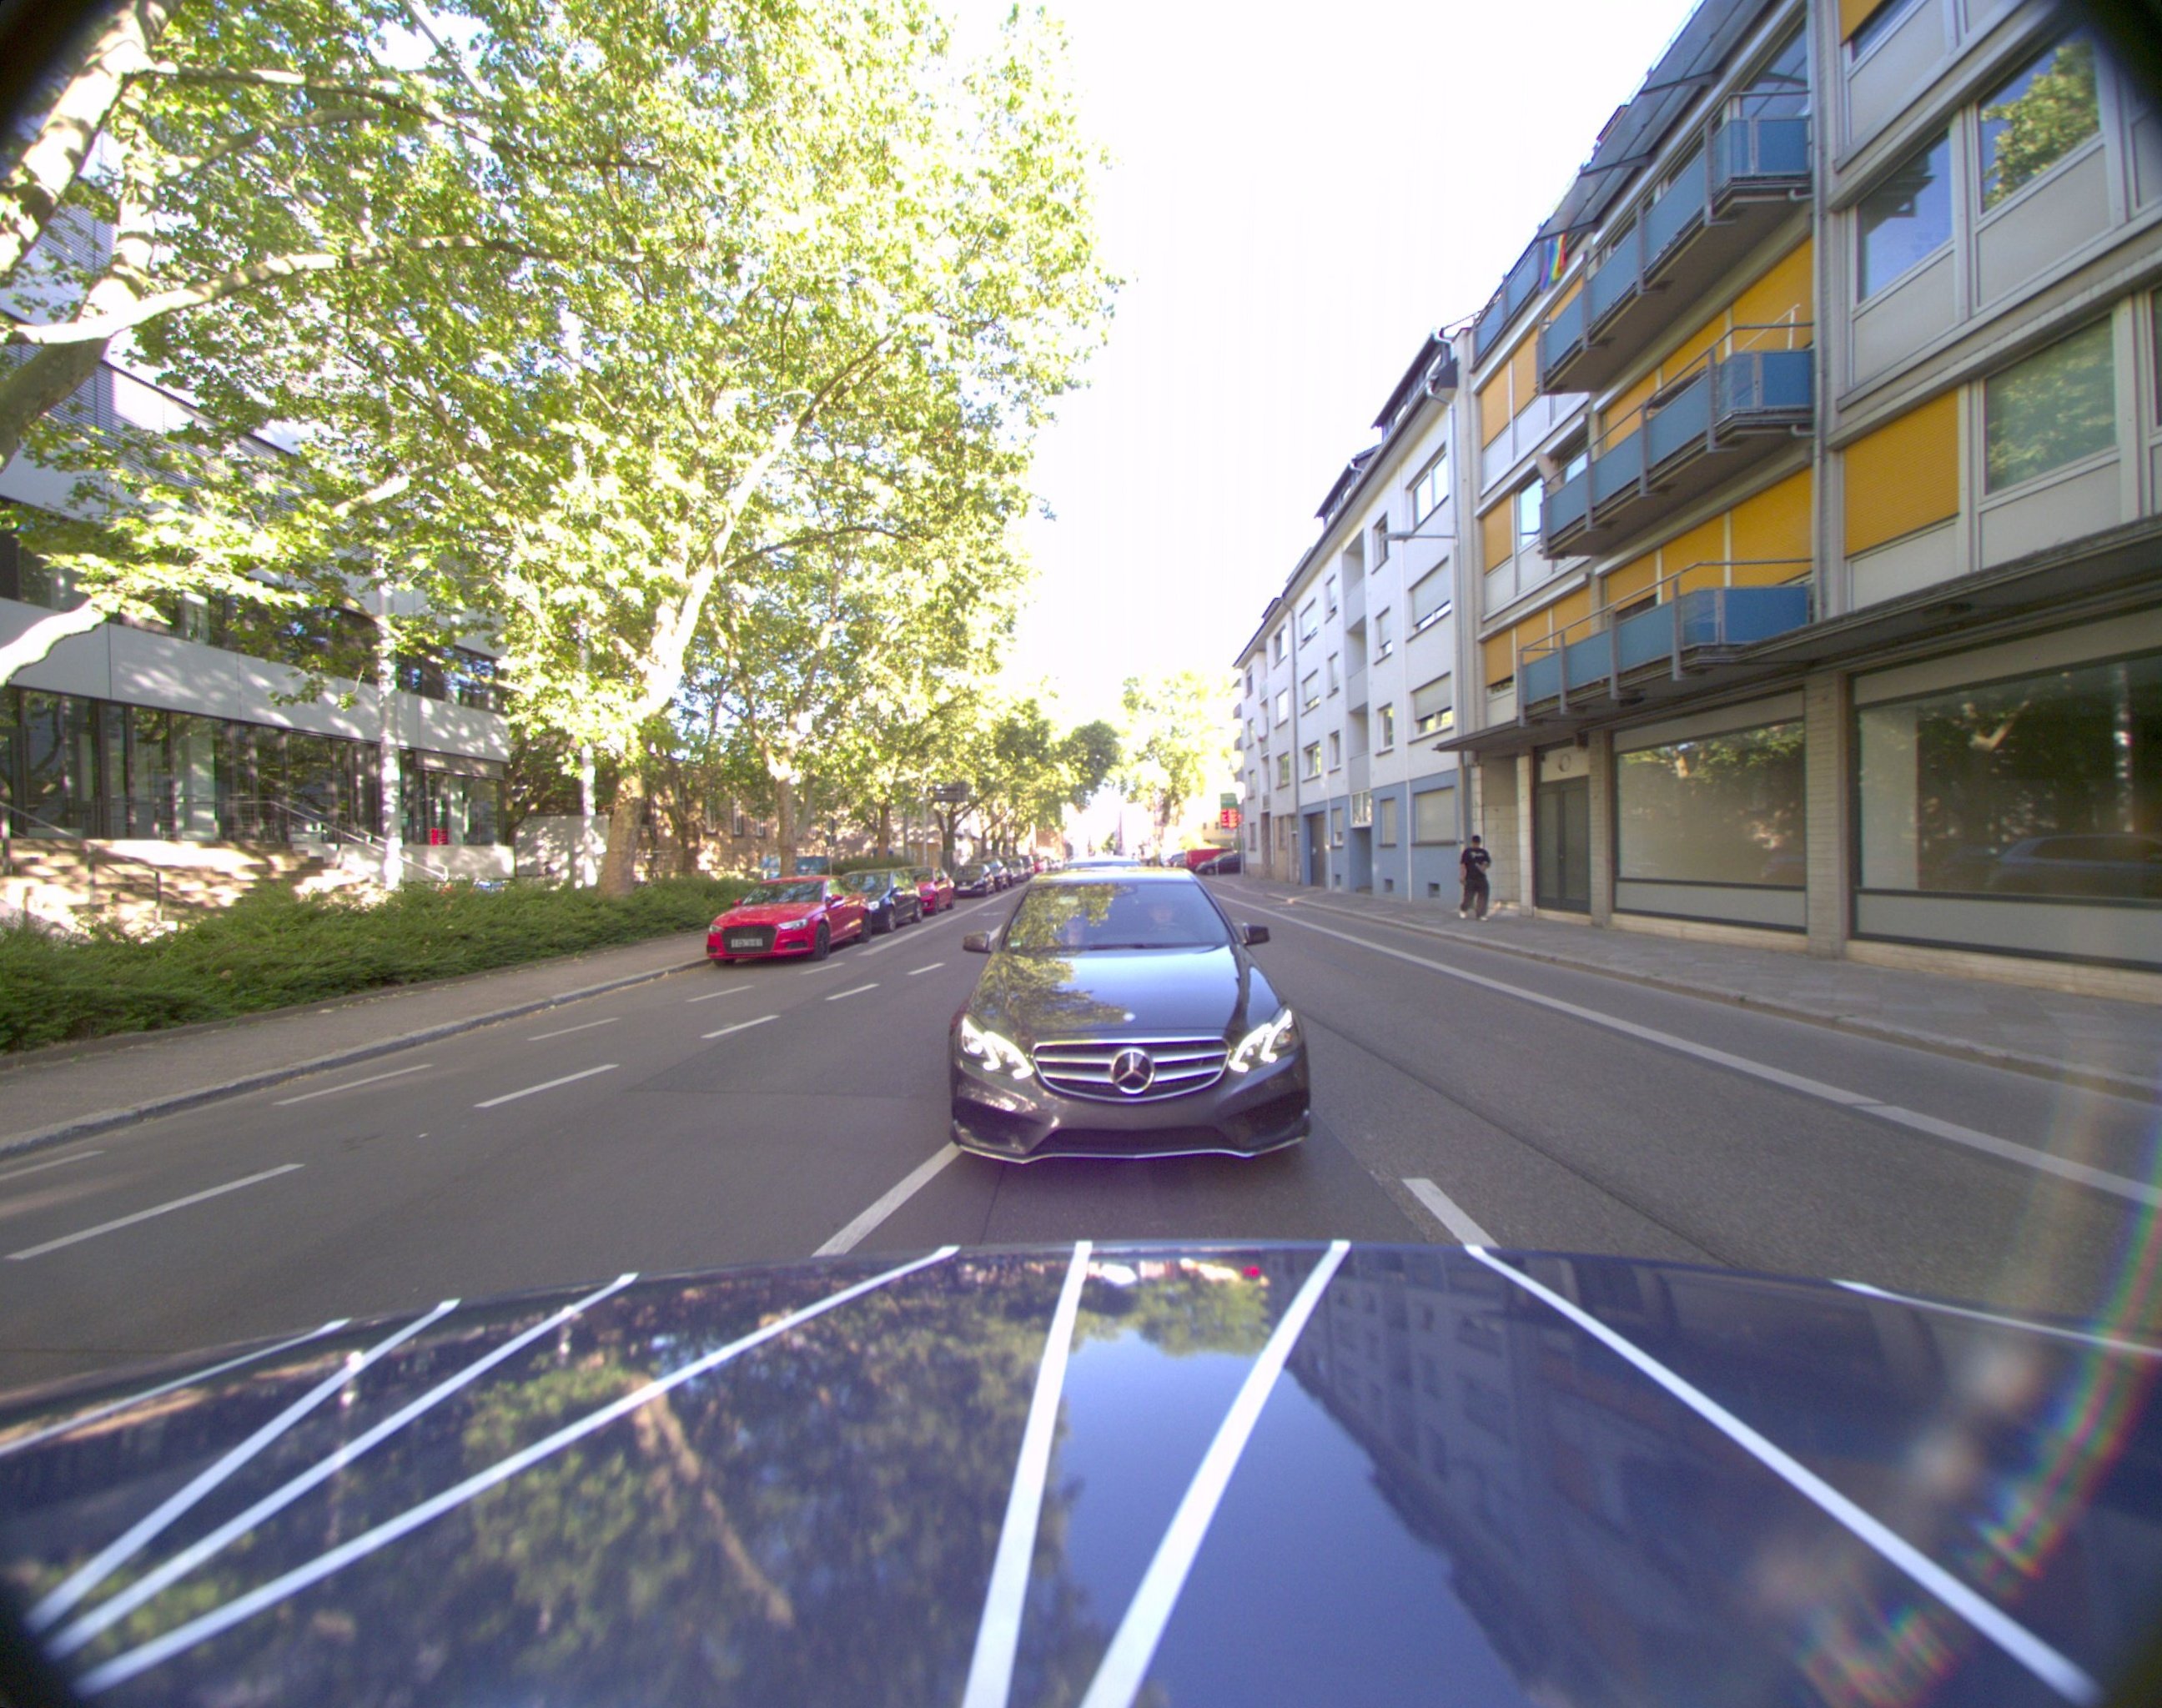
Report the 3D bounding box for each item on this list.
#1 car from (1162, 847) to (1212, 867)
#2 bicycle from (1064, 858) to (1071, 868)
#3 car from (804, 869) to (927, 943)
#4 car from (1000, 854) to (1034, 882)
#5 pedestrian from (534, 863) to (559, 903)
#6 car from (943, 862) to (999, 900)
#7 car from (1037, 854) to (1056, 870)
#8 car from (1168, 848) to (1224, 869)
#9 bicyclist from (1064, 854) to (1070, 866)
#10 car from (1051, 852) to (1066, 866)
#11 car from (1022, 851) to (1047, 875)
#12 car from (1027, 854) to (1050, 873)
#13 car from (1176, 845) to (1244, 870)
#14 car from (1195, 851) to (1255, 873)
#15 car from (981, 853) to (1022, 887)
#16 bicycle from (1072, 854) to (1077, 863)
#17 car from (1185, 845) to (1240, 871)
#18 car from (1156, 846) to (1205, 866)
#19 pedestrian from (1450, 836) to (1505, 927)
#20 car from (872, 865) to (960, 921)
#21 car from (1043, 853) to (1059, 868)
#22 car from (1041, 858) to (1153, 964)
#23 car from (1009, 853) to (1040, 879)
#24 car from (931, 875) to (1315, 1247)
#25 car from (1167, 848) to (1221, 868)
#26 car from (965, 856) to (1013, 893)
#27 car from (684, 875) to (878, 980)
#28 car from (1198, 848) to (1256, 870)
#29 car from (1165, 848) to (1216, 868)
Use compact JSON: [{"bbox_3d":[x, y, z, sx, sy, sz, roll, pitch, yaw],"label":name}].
[{"bbox_3d":[11.322,0.342,81.202,5.042,1.926,2.315,-2,0,1],"label":"car"},{"bbox_3d":[-1.535,1.049,85.664,0.650,1.053,1.595,-2,0,1],"label":"bicycle"},{"bbox_3d":[-5.083,1.171,18.459,1.755,1.424,3.909,-3,0,1],"label":"car"},{"bbox_3d":[-4.272,0.879,50.961,1.755,1.718,4.447,-3,0,1],"label":"car"},{"bbox_3d":[-22.731,1.233,32.320,0.525,1.660,0.661,-2,1,2],"label":"pedestrian"},{"bbox_3d":[-4.749,1.116,33.310,1.755,1.424,3.909,-3,0,1],"label":"car"},{"bbox_3d":[-3.777,0.869,83.531,1.755,1.652,4.447,-3,0,1],"label":"car"},{"bbox_3d":[11.099,0.438,73.538,5.143,1.926,2.187,-2,0,1],"label":"car"},{"bbox_3d":[-1.542,0.674,85.545,0.650,1.427,0.741,-2,1,1],"label":"bicyclist"},{"bbox_3d":[-3.016,0.649,103.219,1.755,1.652,4.447,-3,0,1],"label":"car"},{"bbox_3d":[-3.997,0.728,66.405,1.755,1.941,4.447,-3,0,1],"label":"car"},{"bbox_3d":[-4.003,0.902,72.191,1.755,1.652,4.447,-3,0,1],"label":"car"},{"bbox_3d":[10.636,0.288,63.122,5.223,1.969,2.257,-2,0,1],"label":"car"},{"bbox_3d":[10.357,0.556,54.798,3.997,1.412,1.743,-2,0,1],"label":"car"},{"bbox_3d":[-4.553,0.869,44.078,1.755,1.810,4.447,-3,0,1],"label":"car"},{"bbox_3d":[-0.740,0.513,85.554,0.574,1.053,1.595,-2,0,1],"label":"bicycle"},{"bbox_3d":[10.331,0.295,60.097,3.997,1.926,1.867,-2,0,1],"label":"car"},{"bbox_3d":[11.189,0.196,85.538,5.143,2.135,2.187,-2,0,1],"label":"car"},{"bbox_3d":[7.964,0.529,15.278,0.663,1.761,0.793,-2,1,2],"label":"pedestrian"},{"bbox_3d":[-5.033,1.144,23.672,1.755,1.459,3.909,-3,0,1],"label":"car"},{"bbox_3d":[-3.648,0.772,93.021,1.755,1.652,4.447,-3,0,1],"label":"car"},{"bbox_3d":[0.272,0.882,13.626,1.667,1.563,4.000,-1,0,1],"label":"car"},{"bbox_3d":[-4.102,0.821,55.772,1.755,1.753,4.447,-3,0,1],"label":"car"},{"bbox_3d":[0.214,0.979,5.374,1.667,1.499,4.000,-1,0,1],"label":"car"},{"bbox_3d":[11.271,0.399,76.238,5.054,1.926,2.161,-2,0,1],"label":"car"},{"bbox_3d":[-4.562,0.974,38.280,1.755,1.644,4.174,-3,0,1],"label":"car"},{"bbox_3d":[-5.123,1.180,13.613,1.755,1.400,4.000,-3,0,1],"label":"car"},{"bbox_3d":[10.913,0.385,57.008,3.997,1.552,1.743,-2,0,1],"label":"car"},{"bbox_3d":[11.286,0.367,78.736,4.991,1.926,2.083,-2,0,1],"label":"car"}]
